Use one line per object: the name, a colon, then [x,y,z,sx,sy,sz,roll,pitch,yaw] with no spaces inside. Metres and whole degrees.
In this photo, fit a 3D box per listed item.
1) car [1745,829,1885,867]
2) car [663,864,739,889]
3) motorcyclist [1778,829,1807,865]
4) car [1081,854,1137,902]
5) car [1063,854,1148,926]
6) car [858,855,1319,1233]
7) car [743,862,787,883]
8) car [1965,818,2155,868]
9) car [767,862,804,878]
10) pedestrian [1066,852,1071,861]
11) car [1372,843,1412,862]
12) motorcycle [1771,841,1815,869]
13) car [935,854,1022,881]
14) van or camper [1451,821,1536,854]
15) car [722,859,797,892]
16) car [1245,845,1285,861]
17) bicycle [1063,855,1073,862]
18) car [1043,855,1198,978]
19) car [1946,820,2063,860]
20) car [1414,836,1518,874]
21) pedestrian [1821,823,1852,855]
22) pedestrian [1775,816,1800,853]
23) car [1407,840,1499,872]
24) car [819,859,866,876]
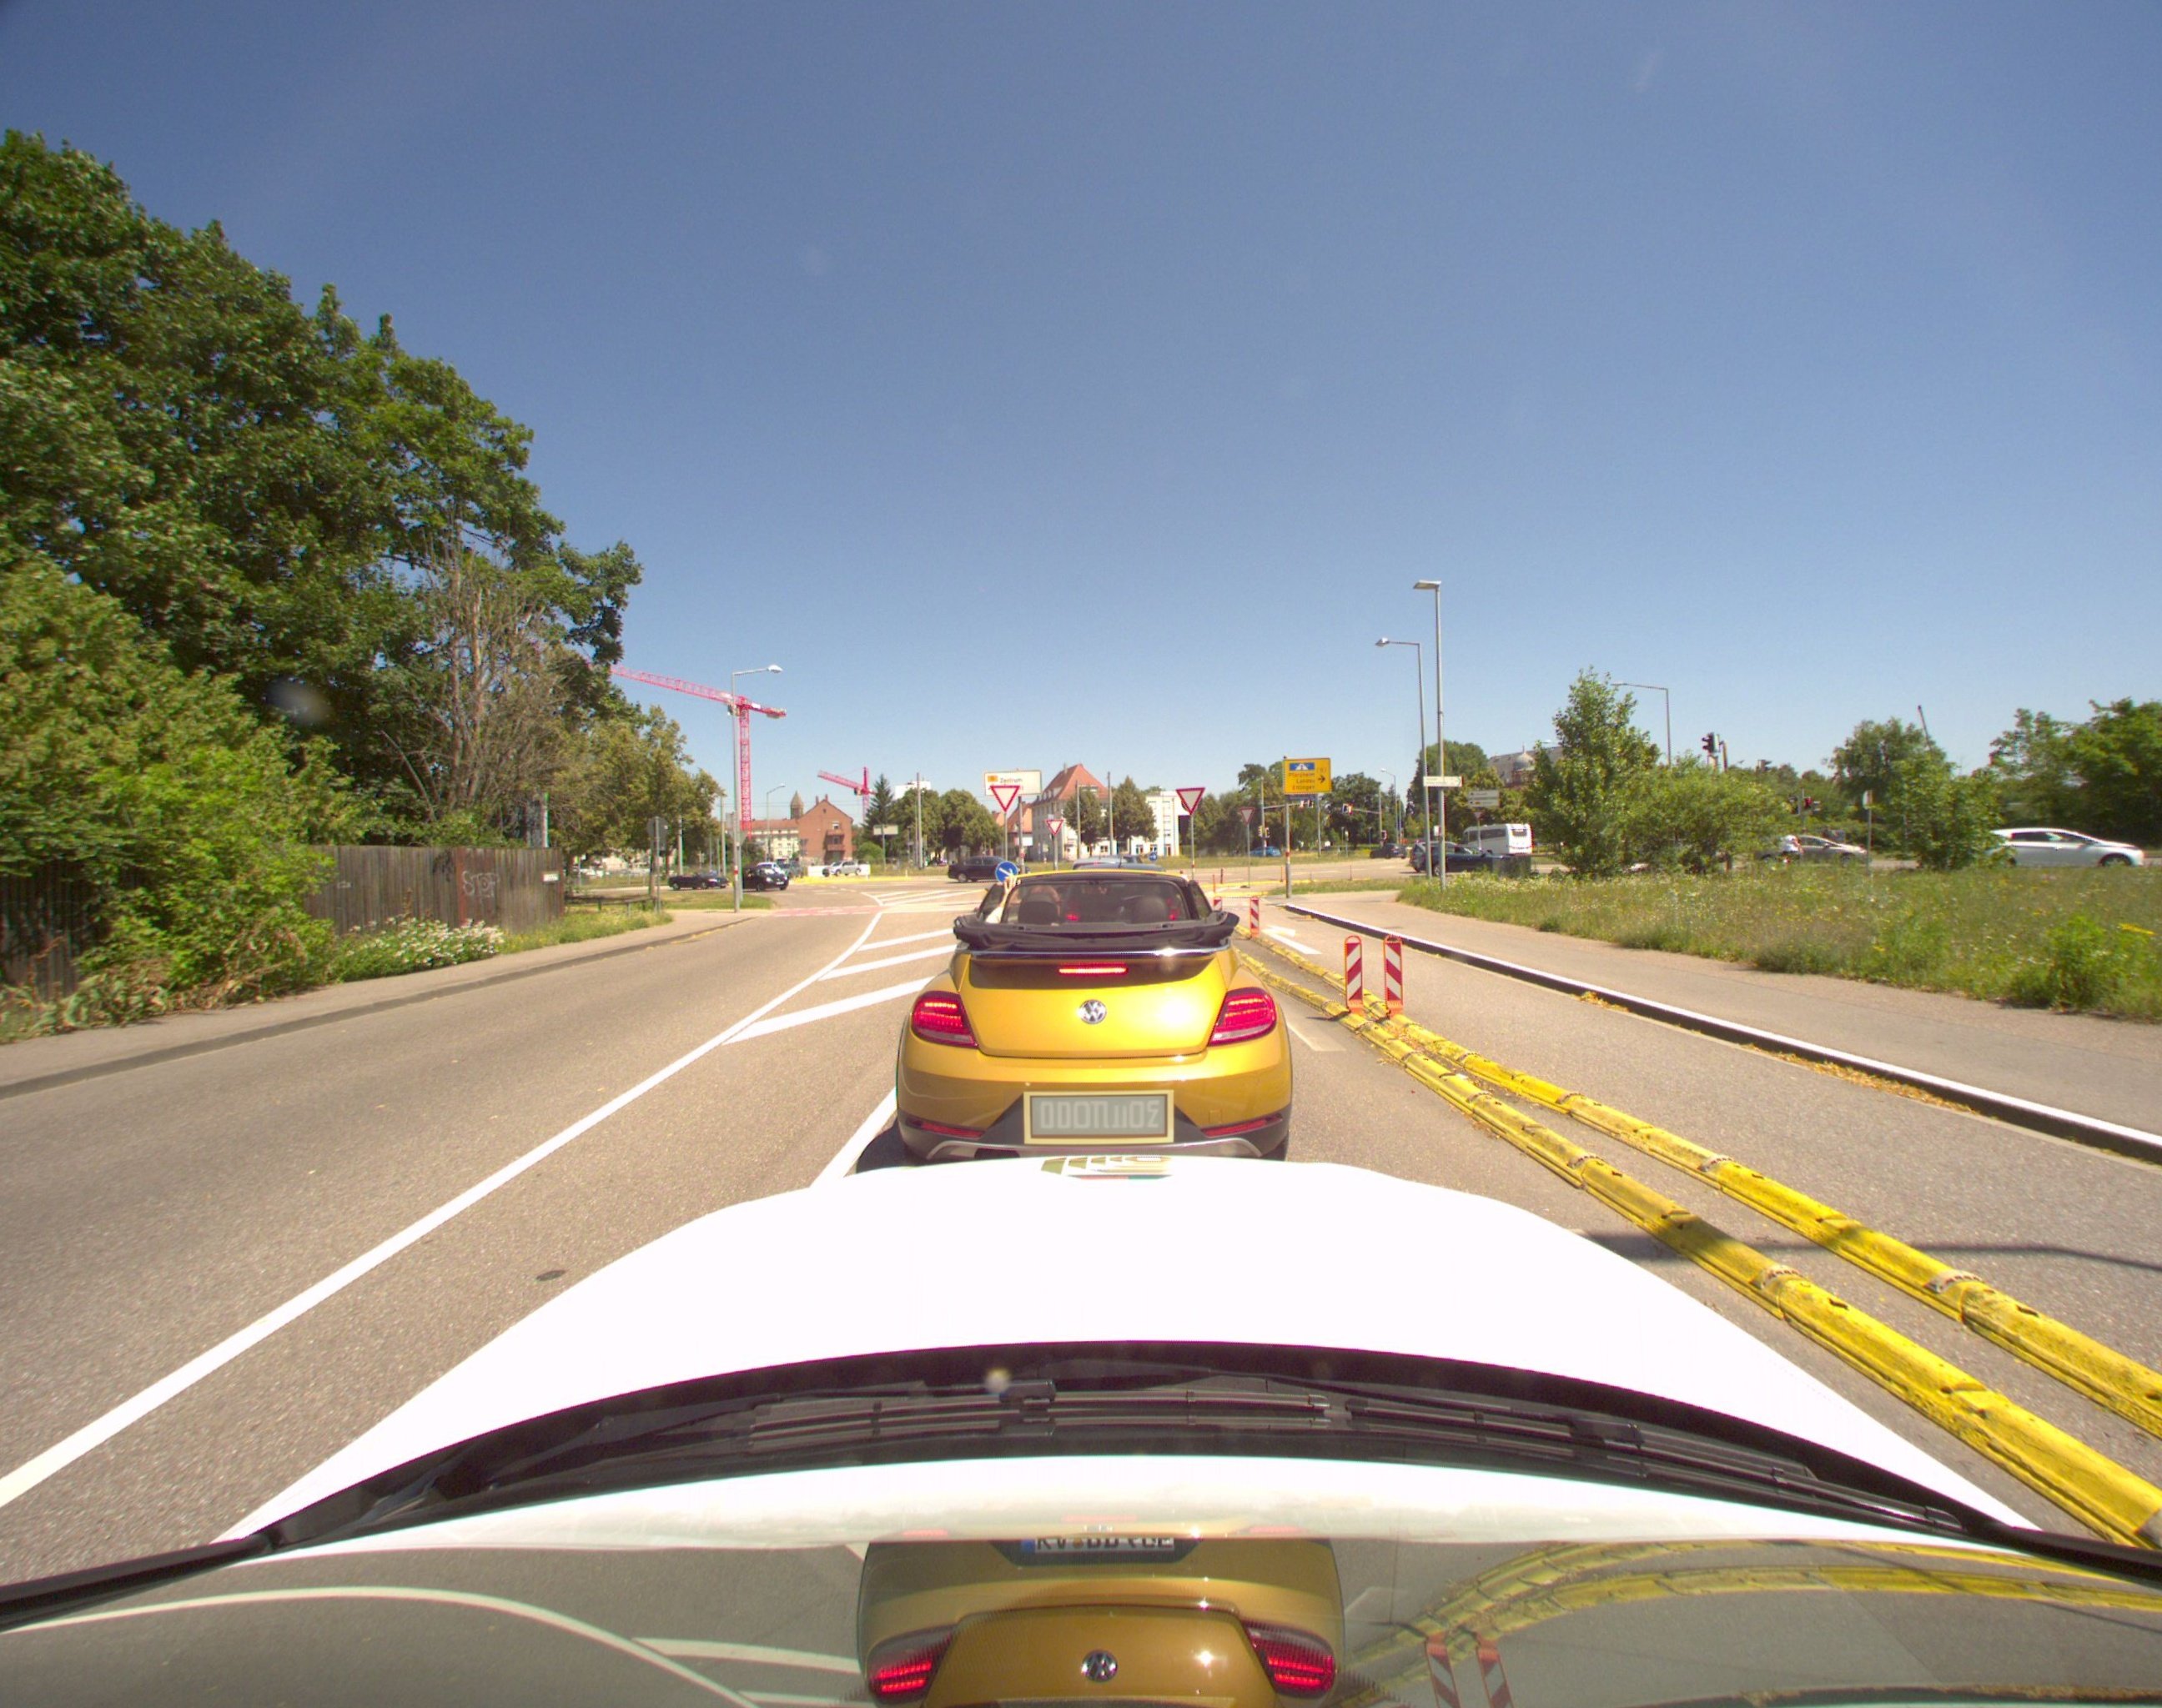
car: [31.665,-0.234,35.317,4.208,1.524,1.833,-1,0,32]
car: [-26.561,1.550,56.877,4.894,1.656,2.011,-1,0,22]
motorcyclist: [25.823,-0.253,29.552,0.616,1.289,0.576,-1,-1,-27]
car: [0.939,0.760,27.603,1.730,1.477,4.002,-1,0,2]
car: [0.581,0.752,18.804,1.730,1.442,4.002,-1,0,2]
car: [0.079,0.734,5.012,1.746,1.422,3.778,-1,0,1]
car: [-24.836,1.428,64.065,1.749,1.549,4.002,-1,0,2]
car: [34.194,-0.343,28.625,3.960,1.620,1.691,-1,0,37]
car: [-25.194,1.351,69.529,1.700,1.236,3.788,-1,0,2]
pedestrian: [-1.808,0.333,118.324,0.675,1.230,0.498,-1,0,-5]
car: [27.745,-0.144,72.777,1.651,1.606,3.207,-1,0,-20]
motorcycle: [25.803,0.035,29.506,1.712,0.970,0.625,-1,0,-28]
car: [-5.771,0.749,45.986,4.491,1.447,1.828,-1,0,9]
van or camper: [36.222,-1.416,71.838,2.508,2.693,7.478,-1,0,-13]
car: [-18.607,1.255,47.105,3.948,1.816,2.013,-1,0,31]
car: [21.372,-0.092,94.662,3.948,1.838,2.013,-1,0,35]
bicycle: [-1.935,0.633,118.310,1.463,1.071,0.498,-1,0,-5]
car: [0.540,0.761,11.786,1.841,1.442,4.002,-1,0,2]
car: [49.176,-0.709,43.497,3.950,2.014,2.012,-1,0,45]
car: [17.354,0.064,36.901,3.969,1.620,1.744,-1,0,15]
pedestrian: [37.943,-0.749,40.894,0.789,1.563,0.823,-1,0,5]
pedestrian: [36.629,-0.991,42.249,0.647,1.870,0.737,-1,0,3]
car: [18.683,0.103,41.081,3.956,1.496,1.809,-1,0,16]
car: [-23.088,1.315,78.948,1.690,1.500,4.247,-1,0,34]
